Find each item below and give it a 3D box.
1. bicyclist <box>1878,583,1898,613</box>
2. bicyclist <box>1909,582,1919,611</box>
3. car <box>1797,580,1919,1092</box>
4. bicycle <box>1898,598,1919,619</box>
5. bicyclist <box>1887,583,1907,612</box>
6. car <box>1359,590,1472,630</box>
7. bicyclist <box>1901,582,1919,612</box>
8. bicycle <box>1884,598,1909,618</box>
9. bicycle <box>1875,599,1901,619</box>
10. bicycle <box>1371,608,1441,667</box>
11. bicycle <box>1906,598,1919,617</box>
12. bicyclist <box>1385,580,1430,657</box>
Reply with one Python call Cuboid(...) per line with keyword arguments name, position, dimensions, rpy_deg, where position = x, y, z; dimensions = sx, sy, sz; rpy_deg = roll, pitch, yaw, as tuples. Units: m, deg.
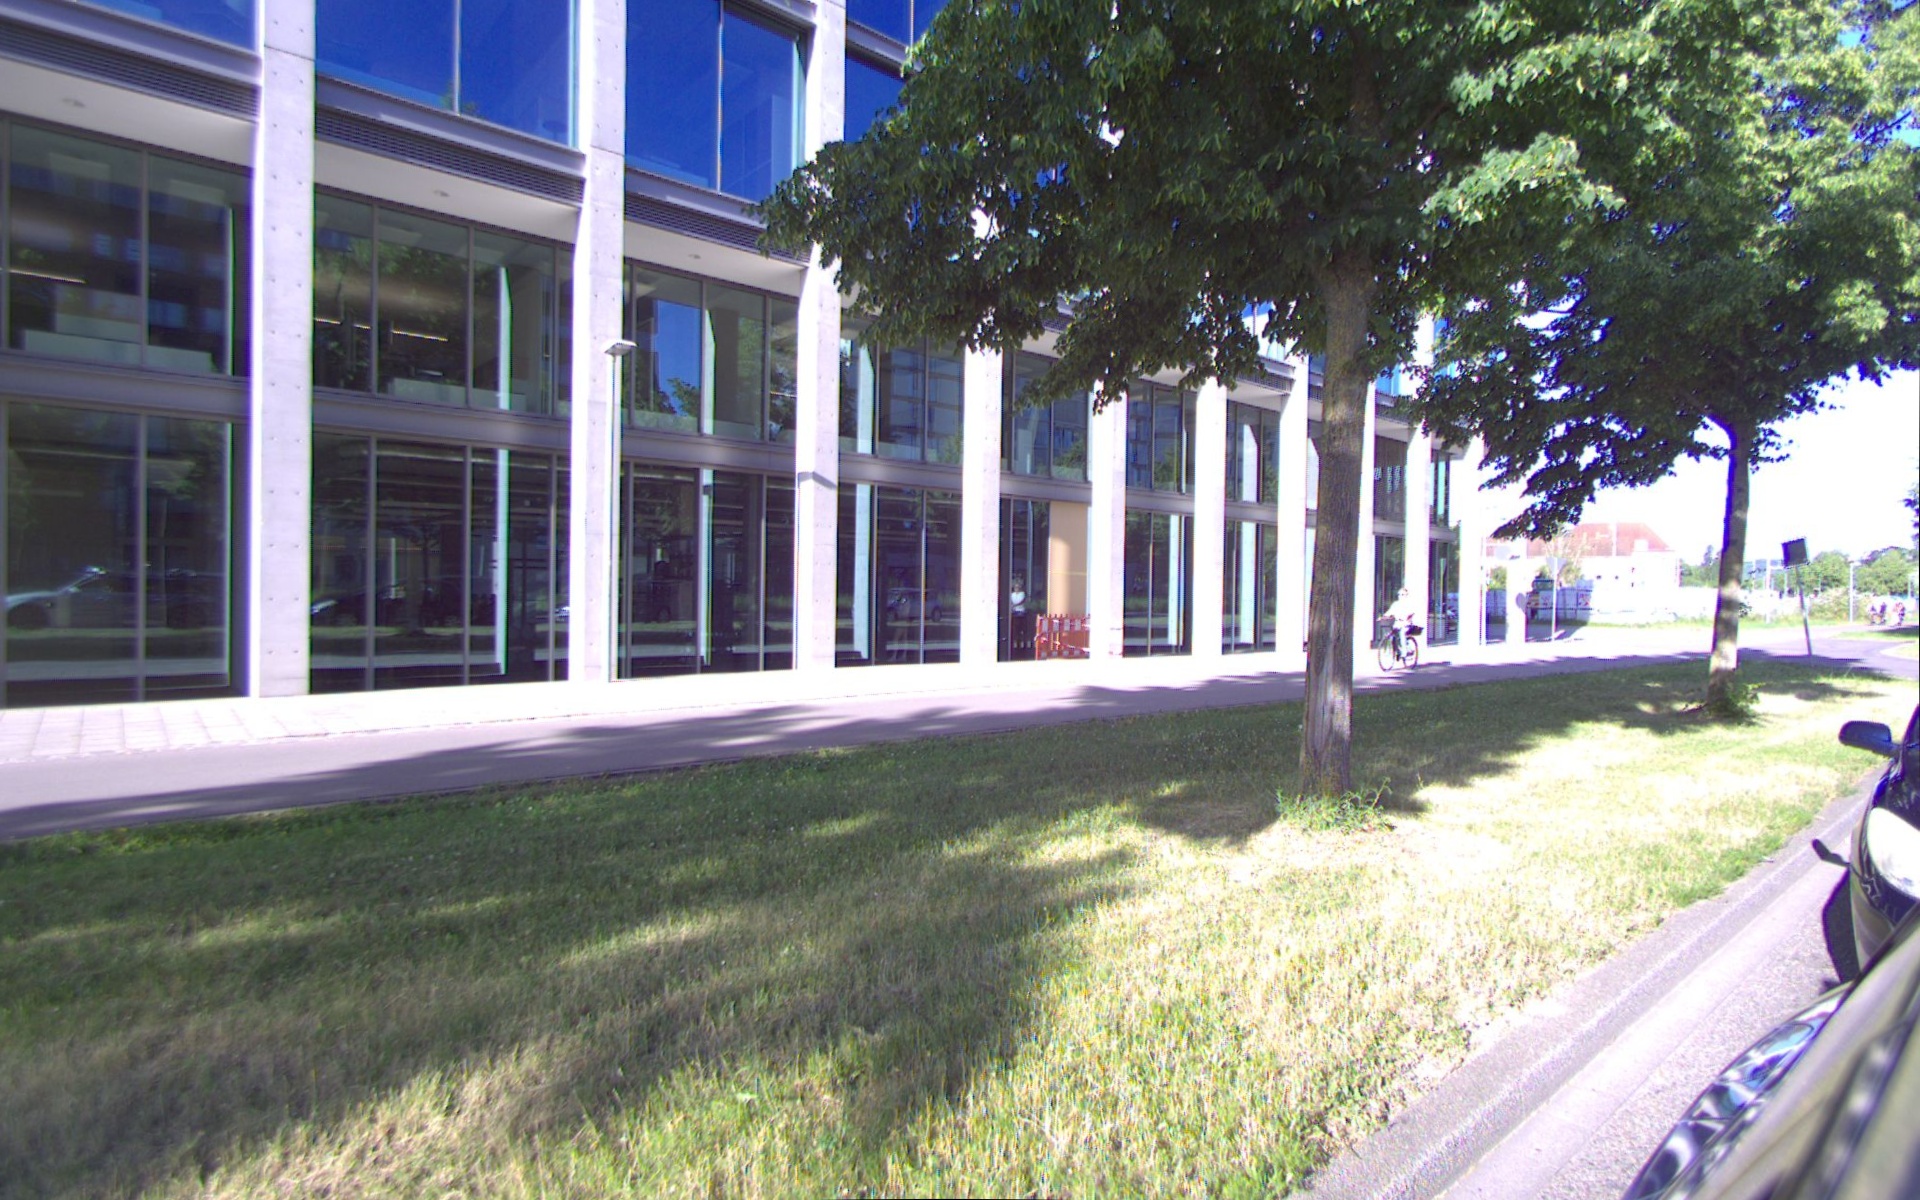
Cuboid(name="bicyclist", position=(65.660, -0.175, 71.583), dimensions=(1.101, 2.082, 0.930), rpy_deg=(0, 0, -41))
Cuboid(name="bicyclist", position=(69.650, -0.235, 73.515), dimensions=(1.101, 2.082, 0.930), rpy_deg=(0, 0, -41))
Cuboid(name="car", position=(4.893, 0.699, 3.924), dimensions=(4.403, 1.500, 1.845), rpy_deg=(0, 1, -41))
Cuboid(name="bicycle", position=(66.625, 0.578, 70.884), dimensions=(3.930, 1.380, 0.930), rpy_deg=(0, 1, -41))
Cuboid(name="bicyclist", position=(68.712, -0.208, 74.220), dimensions=(1.101, 2.082, 0.930), rpy_deg=(0, 0, -41))
Cuboid(name="car", position=(19.517, 0.393, 43.488), dimensions=(1.963, 1.598, 3.997), rpy_deg=(0, 1, -38))
Cuboid(name="bicyclist", position=(66.568, -0.201, 70.827), dimensions=(1.101, 2.082, 0.930), rpy_deg=(0, 0, -41))
Cuboid(name="bicycle", position=(68.884, 0.570, 74.407), dimensions=(3.930, 1.380, 0.930), rpy_deg=(0, 1, -41))
Cuboid(name="bicycle", position=(65.631, 0.606, 71.578), dimensions=(3.930, 1.380, 0.930), rpy_deg=(0, 1, -41))
Cuboid(name="bicycle", position=(9.450, 0.778, 21.412), dimensions=(1.894, 1.170, 0.591), rpy_deg=(1, 2, -42))
Cuboid(name="bicycle", position=(69.689, 0.545, 73.582), dimensions=(3.930, 1.380, 0.930), rpy_deg=(0, 1, -41))
Cuboid(name="bicyclist", position=(9.464, 0.385, 21.397), dimensions=(0.687, 1.558, 0.591), rpy_deg=(1, 2, -42))
